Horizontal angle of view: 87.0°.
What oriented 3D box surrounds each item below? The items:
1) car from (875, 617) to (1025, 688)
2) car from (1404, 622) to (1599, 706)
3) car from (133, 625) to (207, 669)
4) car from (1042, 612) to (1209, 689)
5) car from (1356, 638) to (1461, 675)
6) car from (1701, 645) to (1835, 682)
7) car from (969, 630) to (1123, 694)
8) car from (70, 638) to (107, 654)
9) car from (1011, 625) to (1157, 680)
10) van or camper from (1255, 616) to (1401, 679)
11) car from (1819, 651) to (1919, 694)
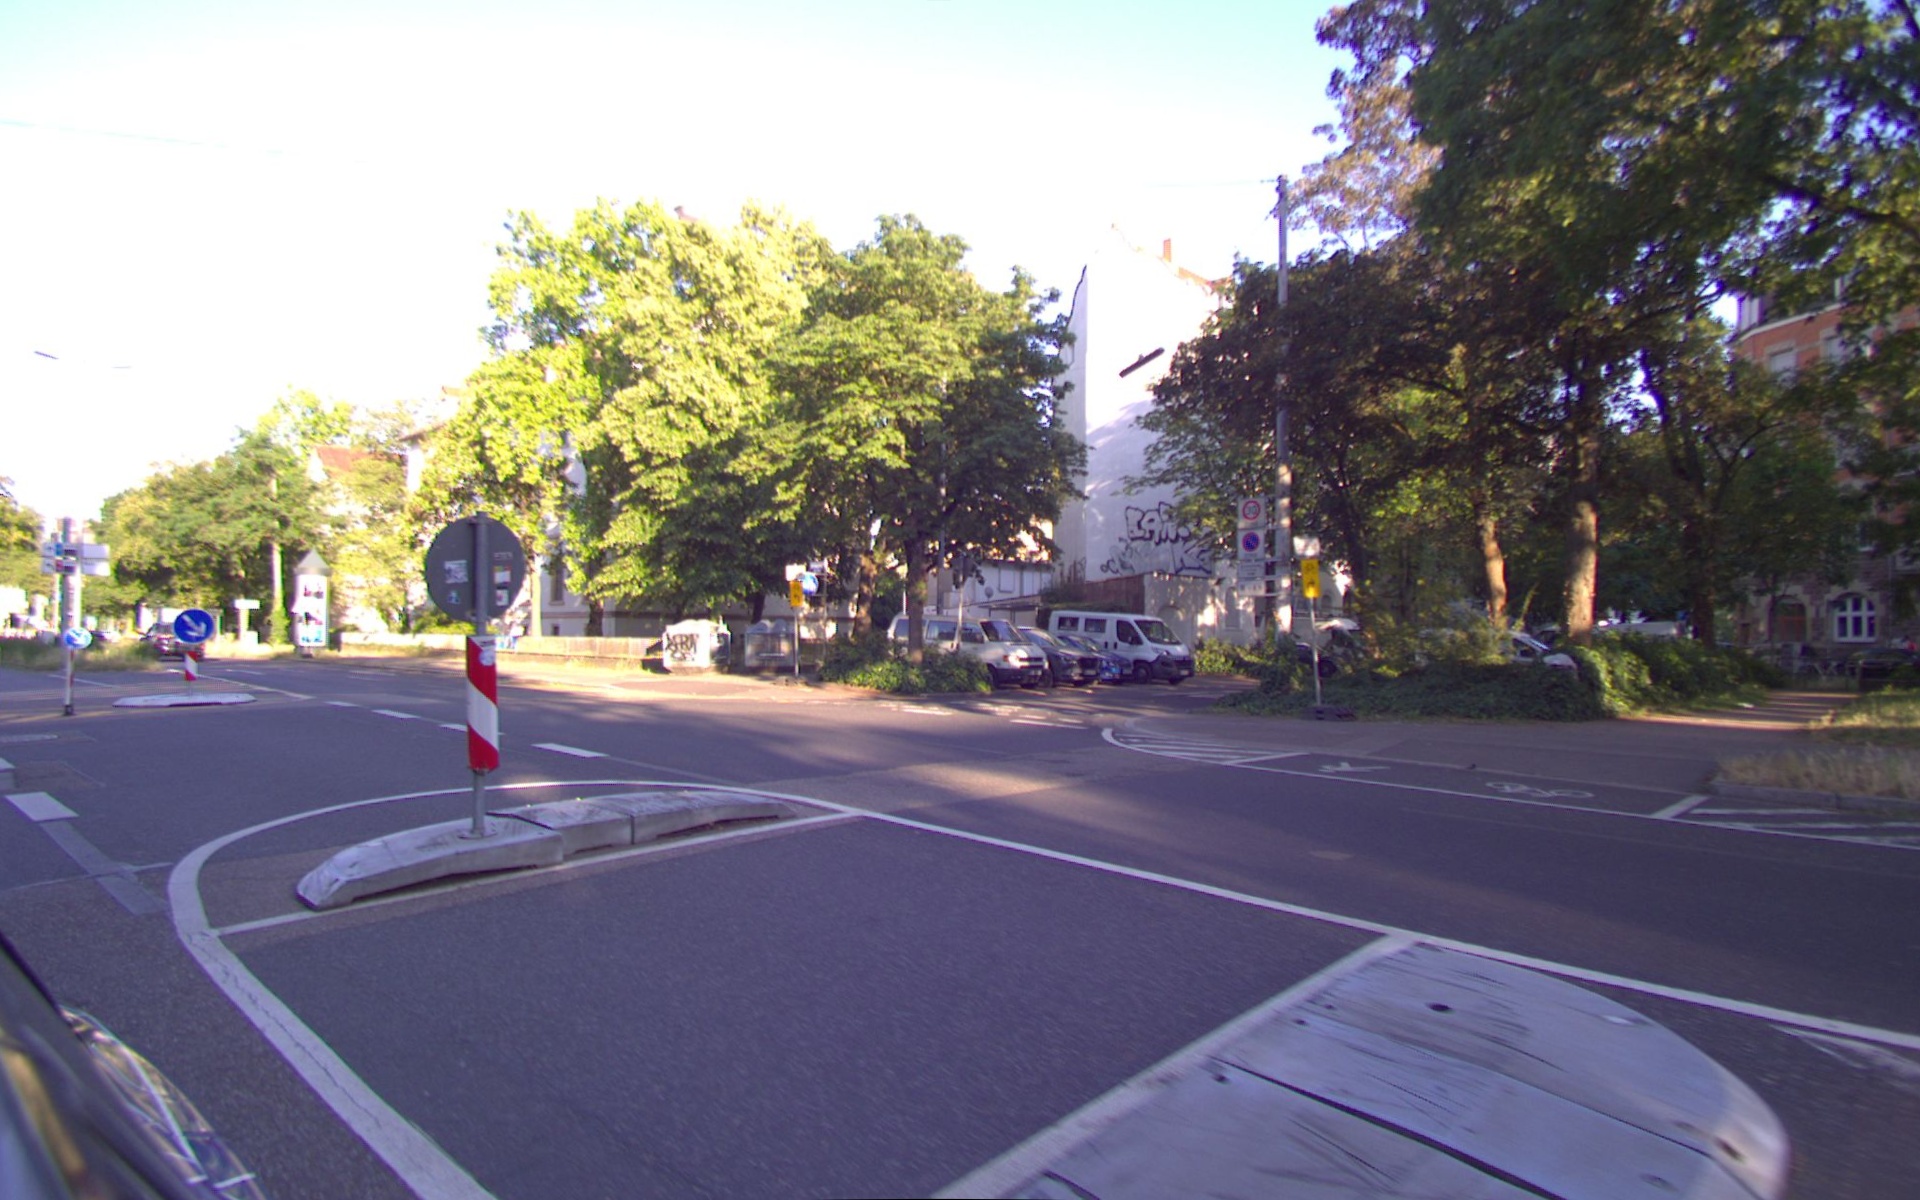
[{"bbox_3d":[-0.326,1.404,28.076,3.998,1.809,1.799,-2,-2,41],"label":"car"},{"bbox_3d":[13.659,1.552,25.615,3.998,1.896,1.973,-2,-1,41],"label":"car"},{"bbox_3d":[-34.122,2.005,43.670,4.569,1.719,1.855,-1,-5,45],"label":"car"},{"bbox_3d":[5.296,1.569,32.921,2.188,2.306,5.104,1,-2,-42],"label":"car"},{"bbox_3d":[20.733,2.577,46.830,4.043,1.541,1.880,-2,-2,44],"label":"car"},{"bbox_3d":[33.009,2.565,41.496,1.863,1.409,4.009,0,-2,-11],"label":"car"},{"bbox_3d":[2.402,1.716,28.910,3.998,1.674,1.973,-2,-2,41],"label":"car"},{"bbox_3d":[-73.725,3.877,85.618,4.005,1.283,1.755,-1,-6,41],"label":"car"},{"bbox_3d":[3.748,1.547,30.930,3.998,1.551,1.973,-2,-2,41],"label":"car"},{"bbox_3d":[15.582,1.964,43.079,5.428,2.490,2.043,-2,-2,44],"label":"van or camper"},{"bbox_3d":[33.760,2.600,36.425,1.863,1.409,4.009,0,-2,-11],"label":"car"}]
